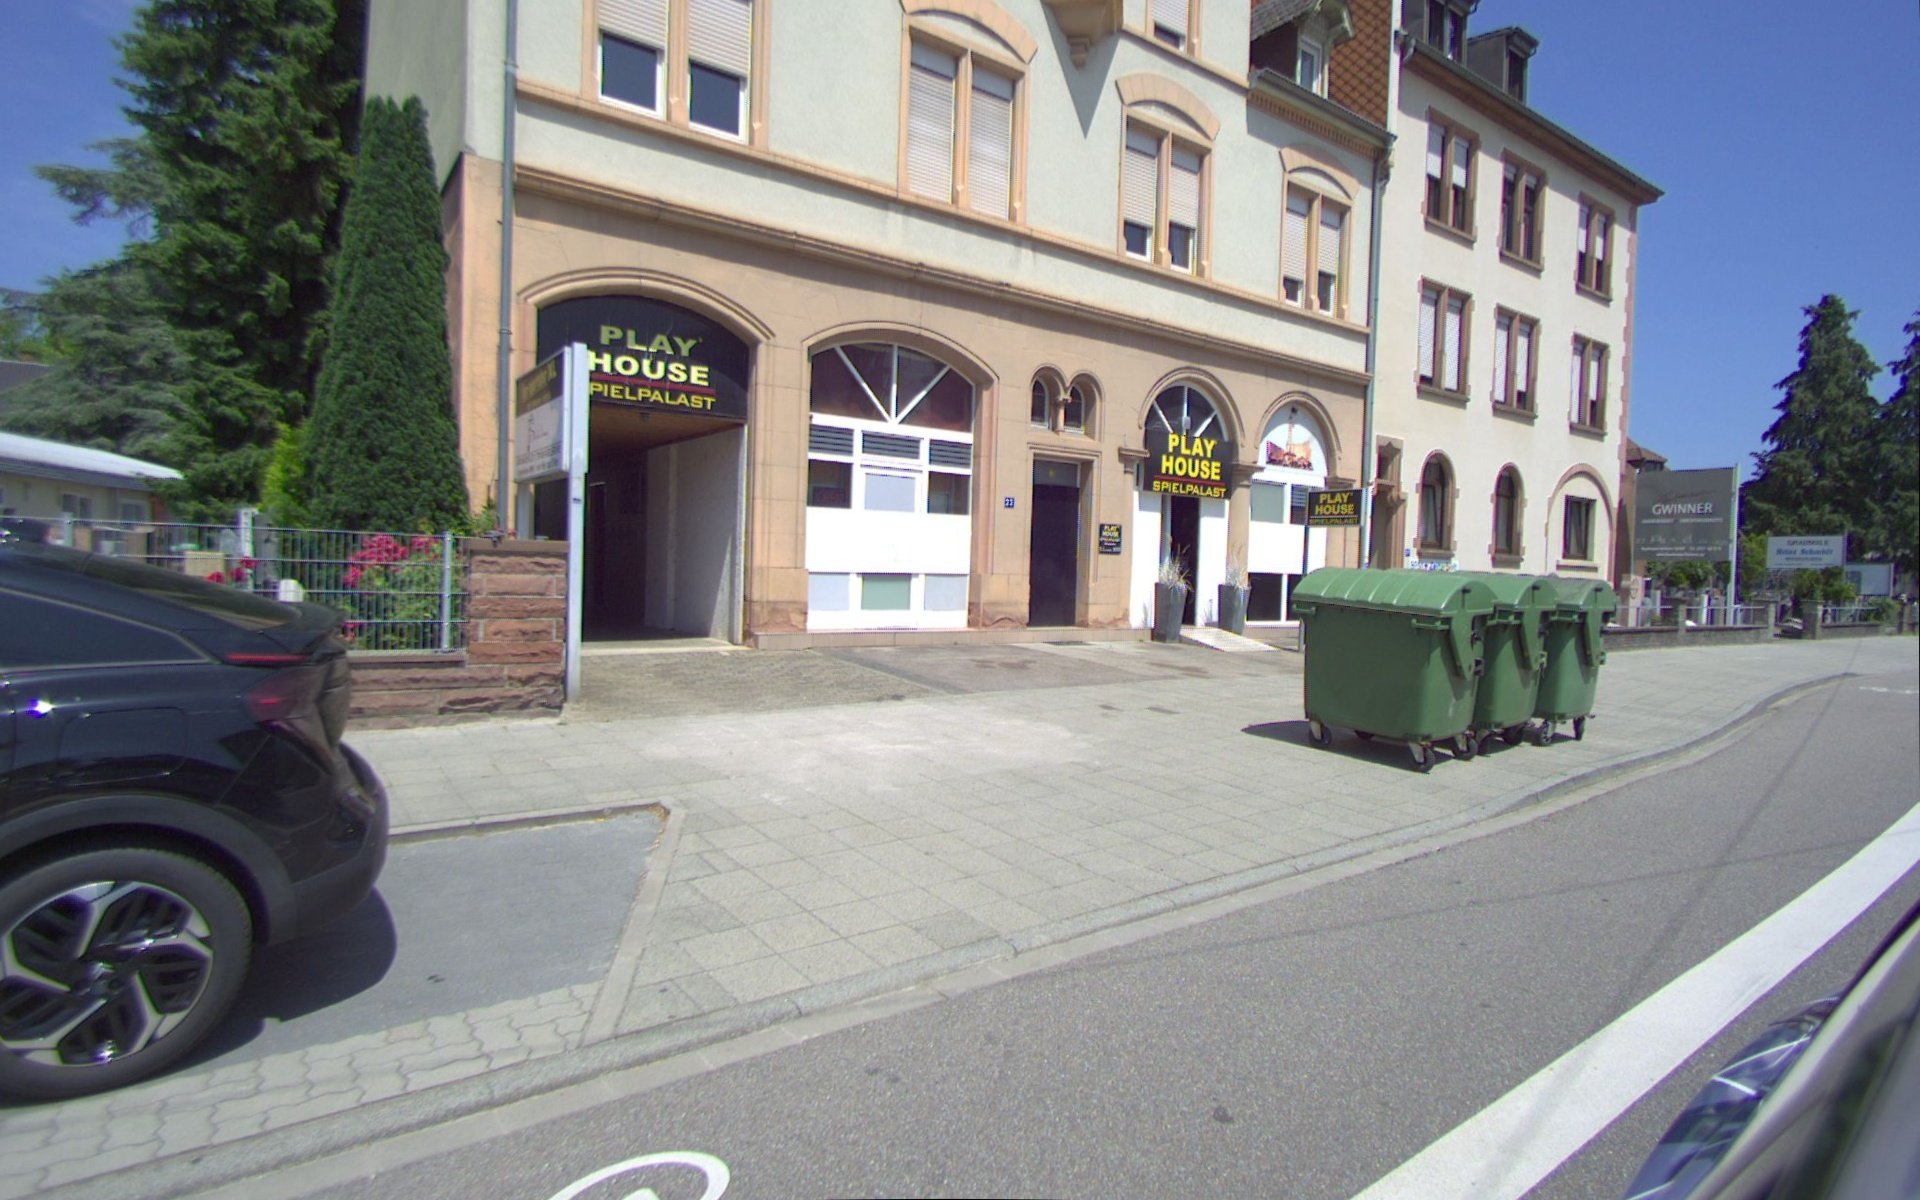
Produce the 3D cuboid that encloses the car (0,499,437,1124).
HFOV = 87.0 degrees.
[{"bbox_3d":[-3.876,0.478,2.433,4.387,1.566,1.777,0,4,-39],"label":"car"}]

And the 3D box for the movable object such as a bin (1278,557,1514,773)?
[{"bbox_3d":[3.430,0.444,8.004,1.040,1.472,1.326,0,4,-42],"label":"movable object such as a bin"}]

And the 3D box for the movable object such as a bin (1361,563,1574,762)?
[{"bbox_3d":[4.304,0.466,8.608,1.040,1.472,1.249,0,4,-42],"label":"movable object such as a bin"}]

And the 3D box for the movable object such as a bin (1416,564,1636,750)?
[{"bbox_3d":[5.160,0.459,9.266,1.120,1.472,1.394,0,4,-42],"label":"movable object such as a bin"}]
